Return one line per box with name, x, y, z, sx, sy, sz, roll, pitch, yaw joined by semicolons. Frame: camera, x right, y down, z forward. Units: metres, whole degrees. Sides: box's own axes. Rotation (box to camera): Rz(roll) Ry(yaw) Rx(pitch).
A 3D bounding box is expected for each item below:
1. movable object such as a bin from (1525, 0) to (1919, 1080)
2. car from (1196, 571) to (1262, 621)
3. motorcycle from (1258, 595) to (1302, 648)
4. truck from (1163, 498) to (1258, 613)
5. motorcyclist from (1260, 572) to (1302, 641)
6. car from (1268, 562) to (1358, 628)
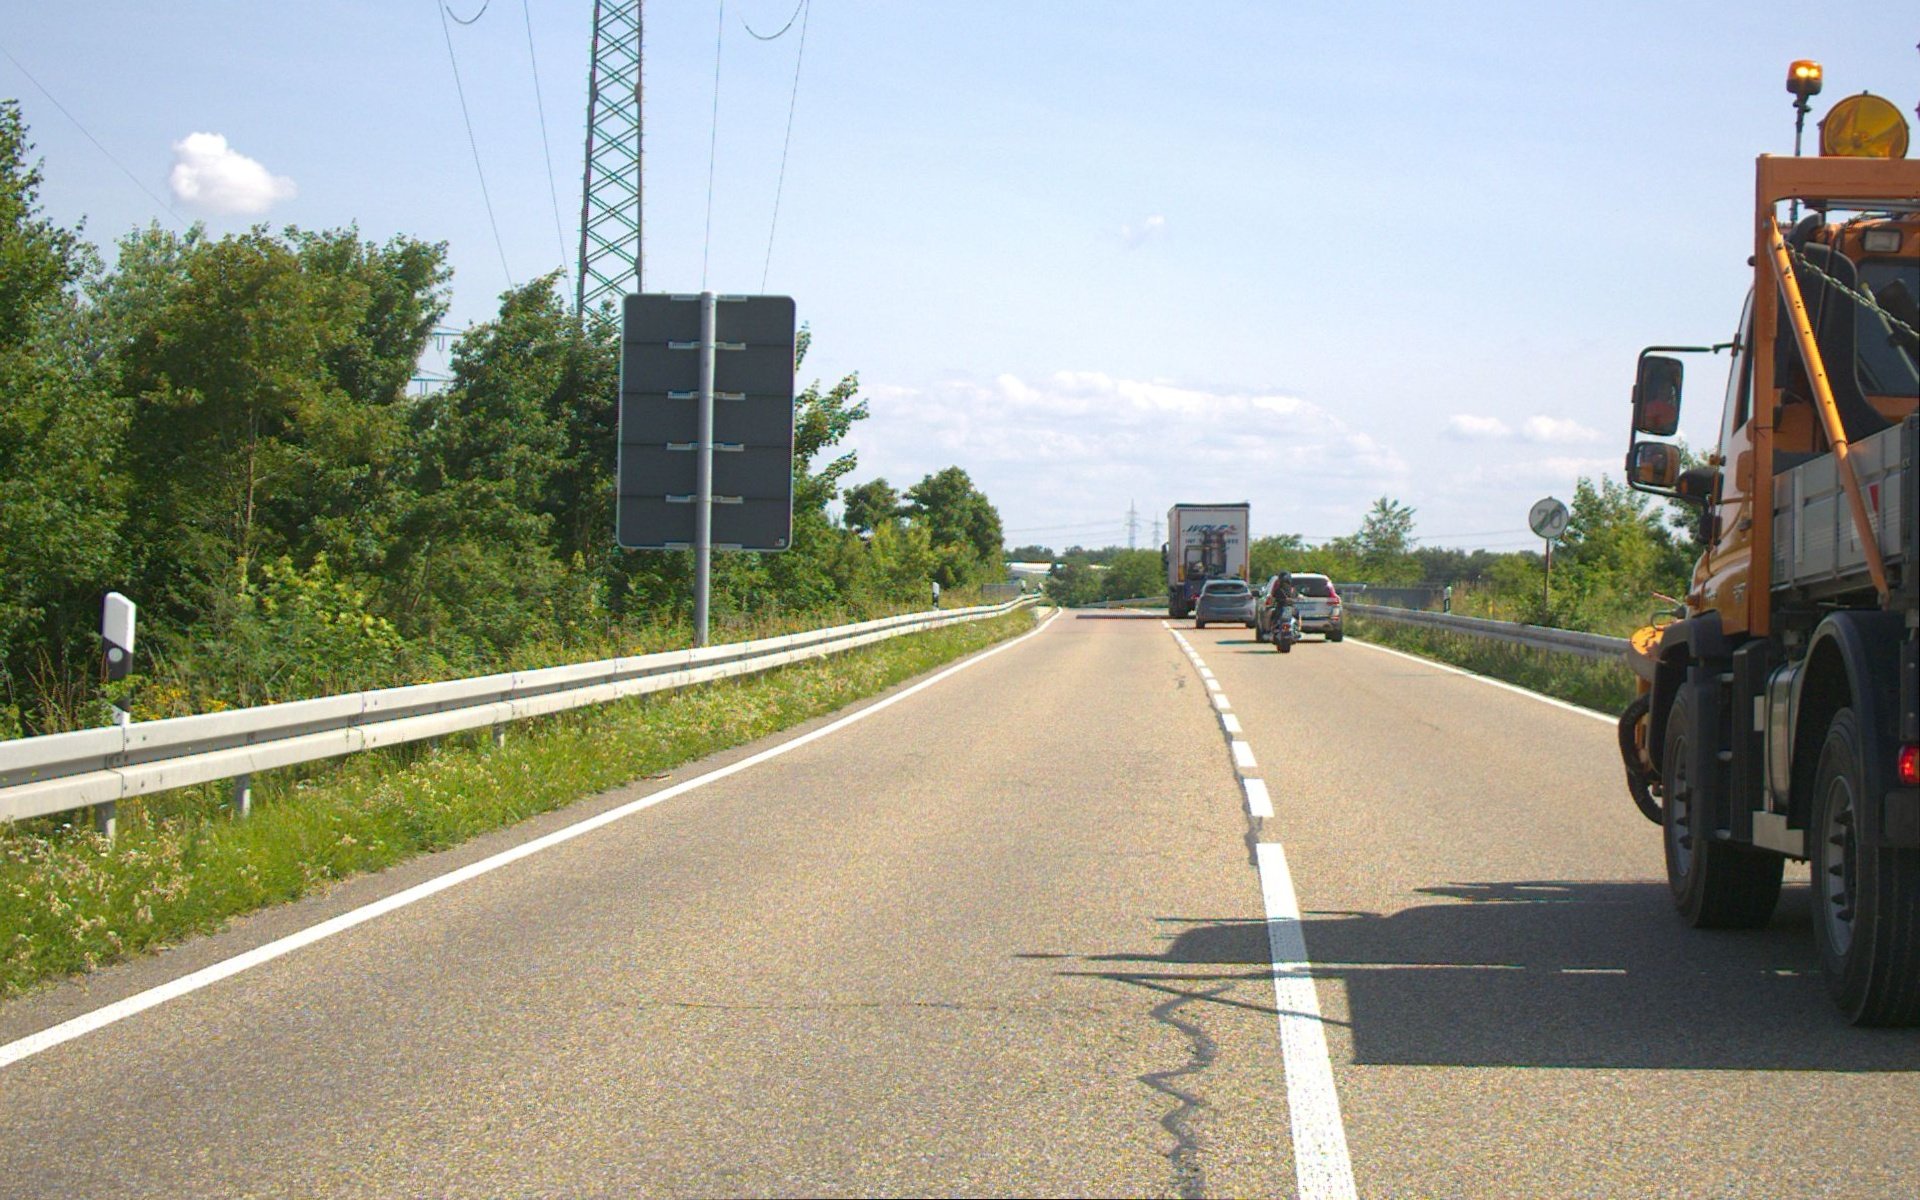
movable object such as a bin;4.274;-0.526;14.855;2.754;3.826;9.444;1;1;4
car;7.919;-0.139;101.387;1.866;1.415;4.000;1;1;4
motorcycle;6.194;0.409;66.566;0.780;0.972;2.361;1;1;4
truck;9.032;-1.546;124.369;3.242;3.965;9.442;1;0;4
motorcyclist;6.209;0.120;66.582;0.780;1.321;0.813;1;1;4
car;7.994;-0.136;78.121;1.826;1.446;4.000;1;1;3
